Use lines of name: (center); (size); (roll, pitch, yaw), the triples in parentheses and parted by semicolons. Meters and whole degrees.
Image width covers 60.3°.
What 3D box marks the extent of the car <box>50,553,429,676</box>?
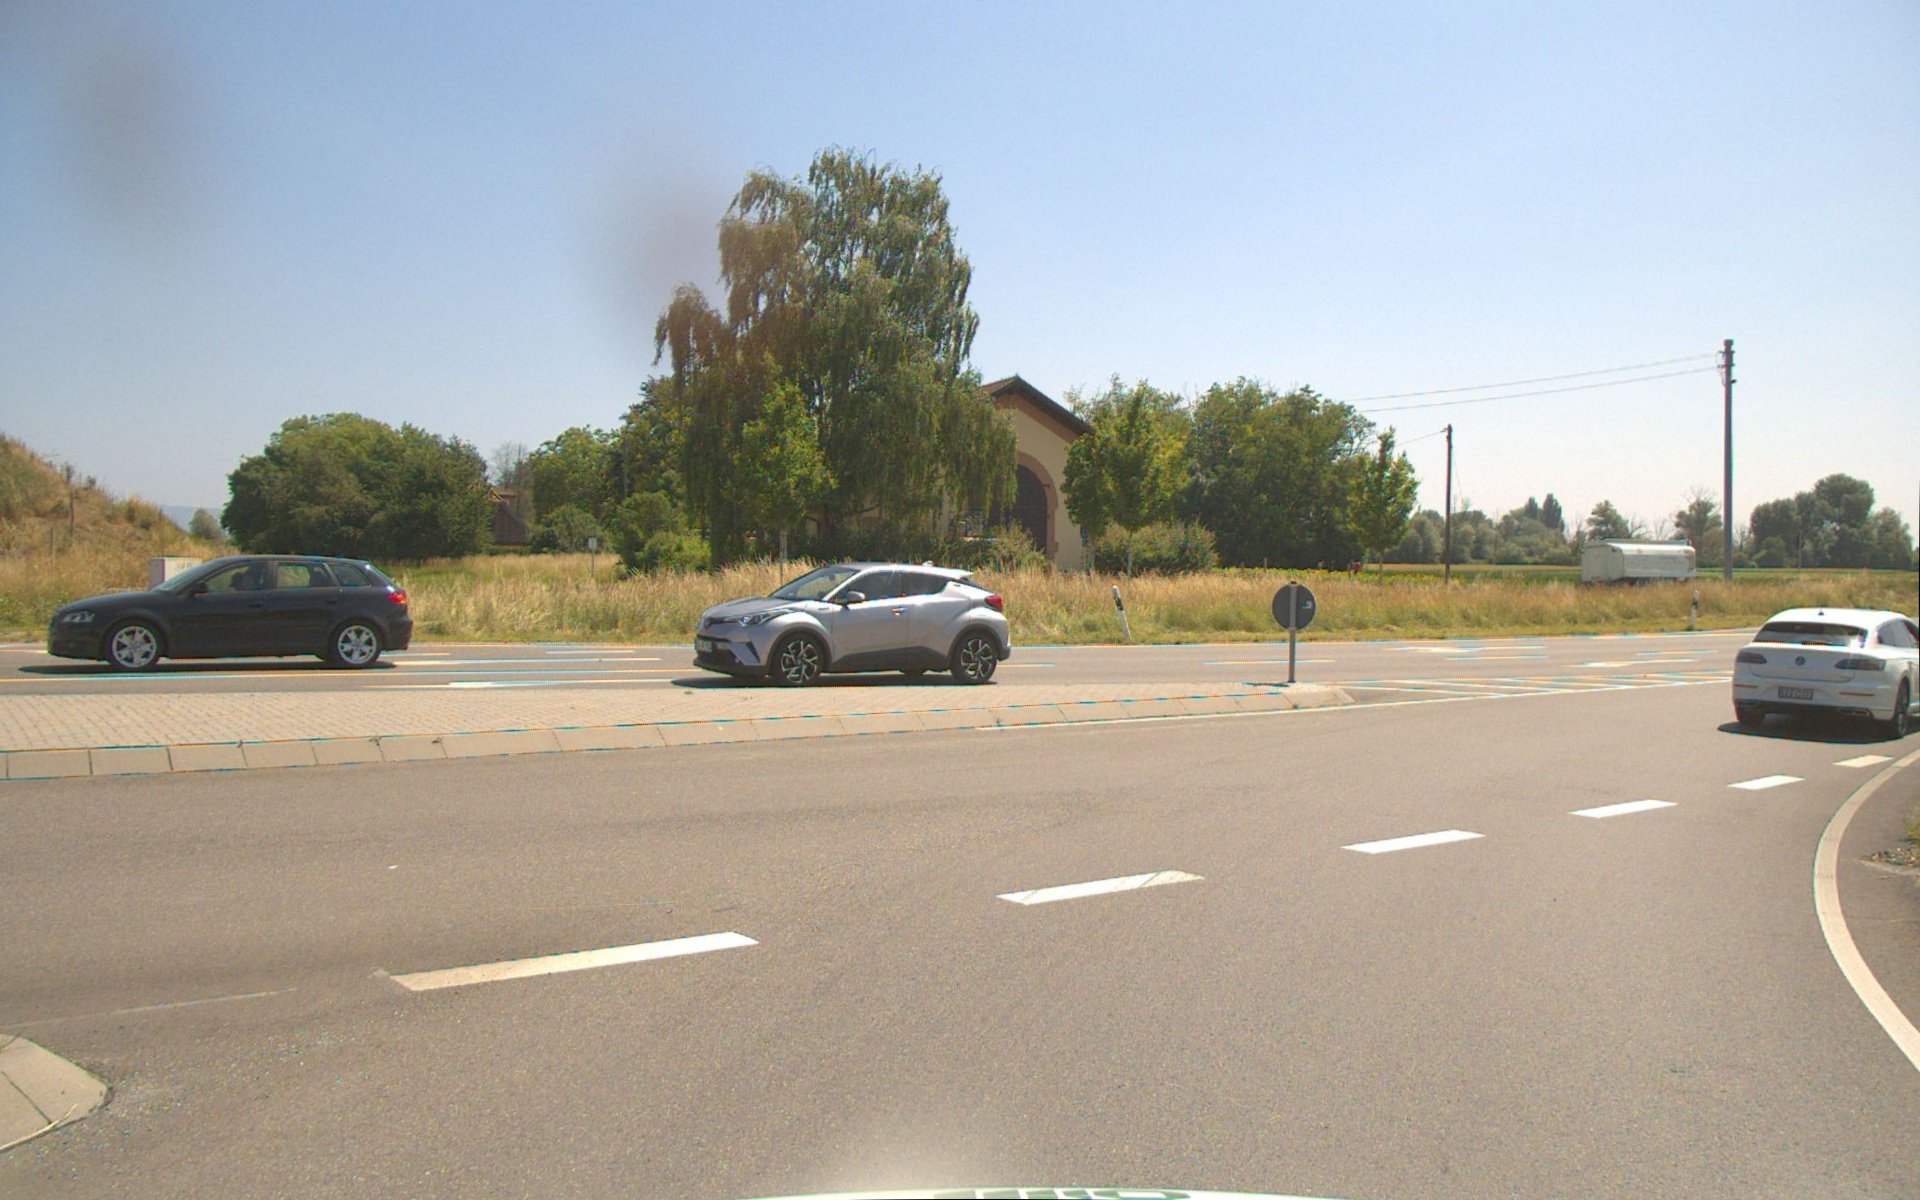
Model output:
car: (-9.075, 0.119, 20.923); (4.218, 1.392, 1.757); (-1, 3, -32)

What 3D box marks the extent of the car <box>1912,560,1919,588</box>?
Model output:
car: (49.577, -1.250, 82.676); (3.780, 1.411, 1.665); (1, 2, -27)

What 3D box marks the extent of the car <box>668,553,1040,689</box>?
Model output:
car: (-1.331, 0.232, 21.425); (4.491, 1.570, 1.852); (0, 2, -32)

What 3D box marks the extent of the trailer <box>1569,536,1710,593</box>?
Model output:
trailer: (30.969, -1.642, 75.359); (6.295, 2.498, 2.660); (-1, 3, -30)

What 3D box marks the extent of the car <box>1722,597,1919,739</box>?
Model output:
car: (11.155, 0.747, 20.669); (1.820, 1.458, 4.585); (4, 3, 39)
